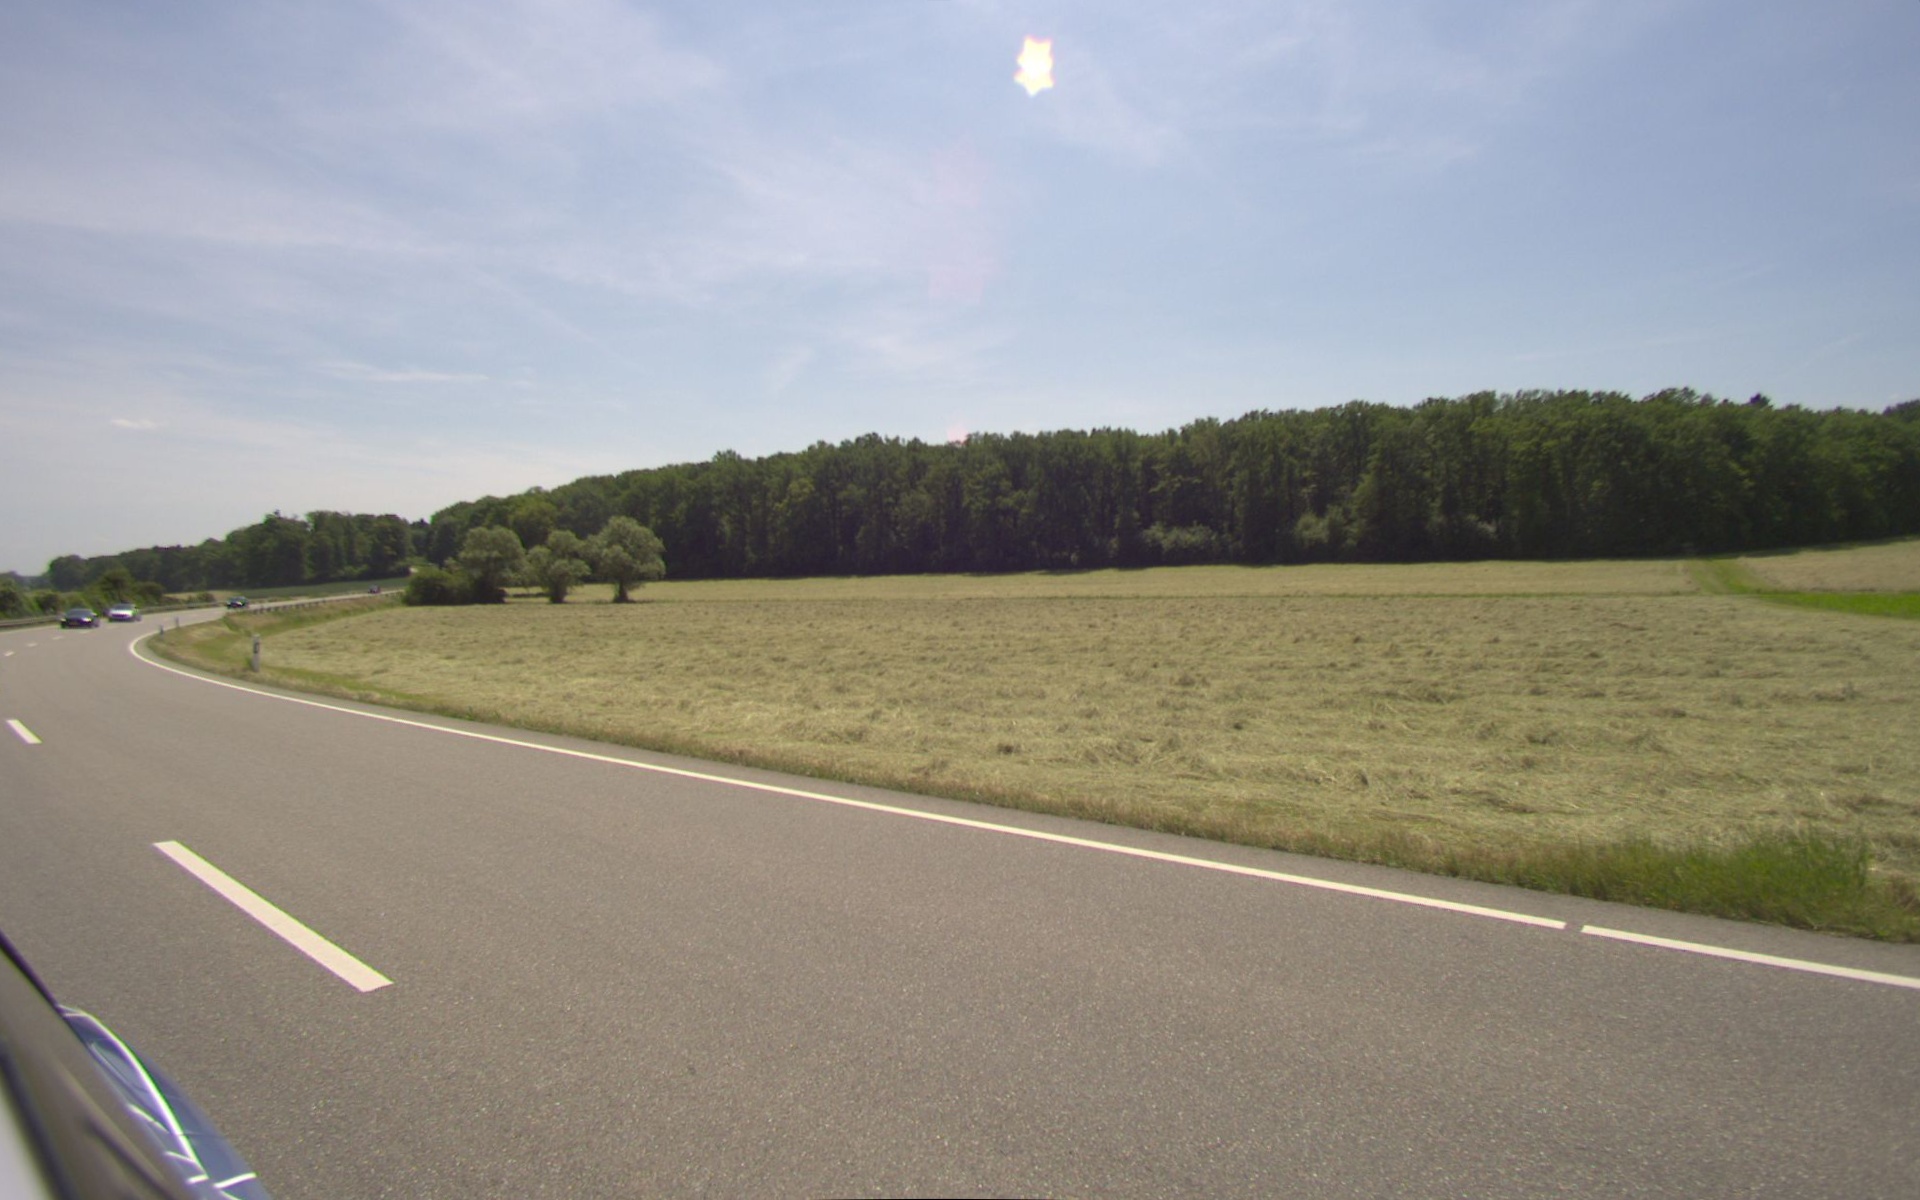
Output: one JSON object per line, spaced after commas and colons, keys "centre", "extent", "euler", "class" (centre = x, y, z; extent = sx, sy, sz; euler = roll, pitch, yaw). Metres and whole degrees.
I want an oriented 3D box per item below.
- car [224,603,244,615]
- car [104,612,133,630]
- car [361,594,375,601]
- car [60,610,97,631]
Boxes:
{"centre": [-95.262, 1.120, 132.765], "extent": [1.595, 1.447, 3.454], "euler": [-1, 2, -27], "class": "car"}
{"centre": [-74.774, 1.873, 90.002], "extent": [1.596, 1.447, 3.452], "euler": [-1, 2, -34], "class": "car"}
{"centre": [-121.884, -0.527, 208.347], "extent": [1.595, 1.447, 3.454], "euler": [-1, 2, -17], "class": "car"}
{"centre": [-65.354, 1.521, 75.088], "extent": [1.596, 1.447, 3.452], "euler": [-1, 1, -34], "class": "car"}
